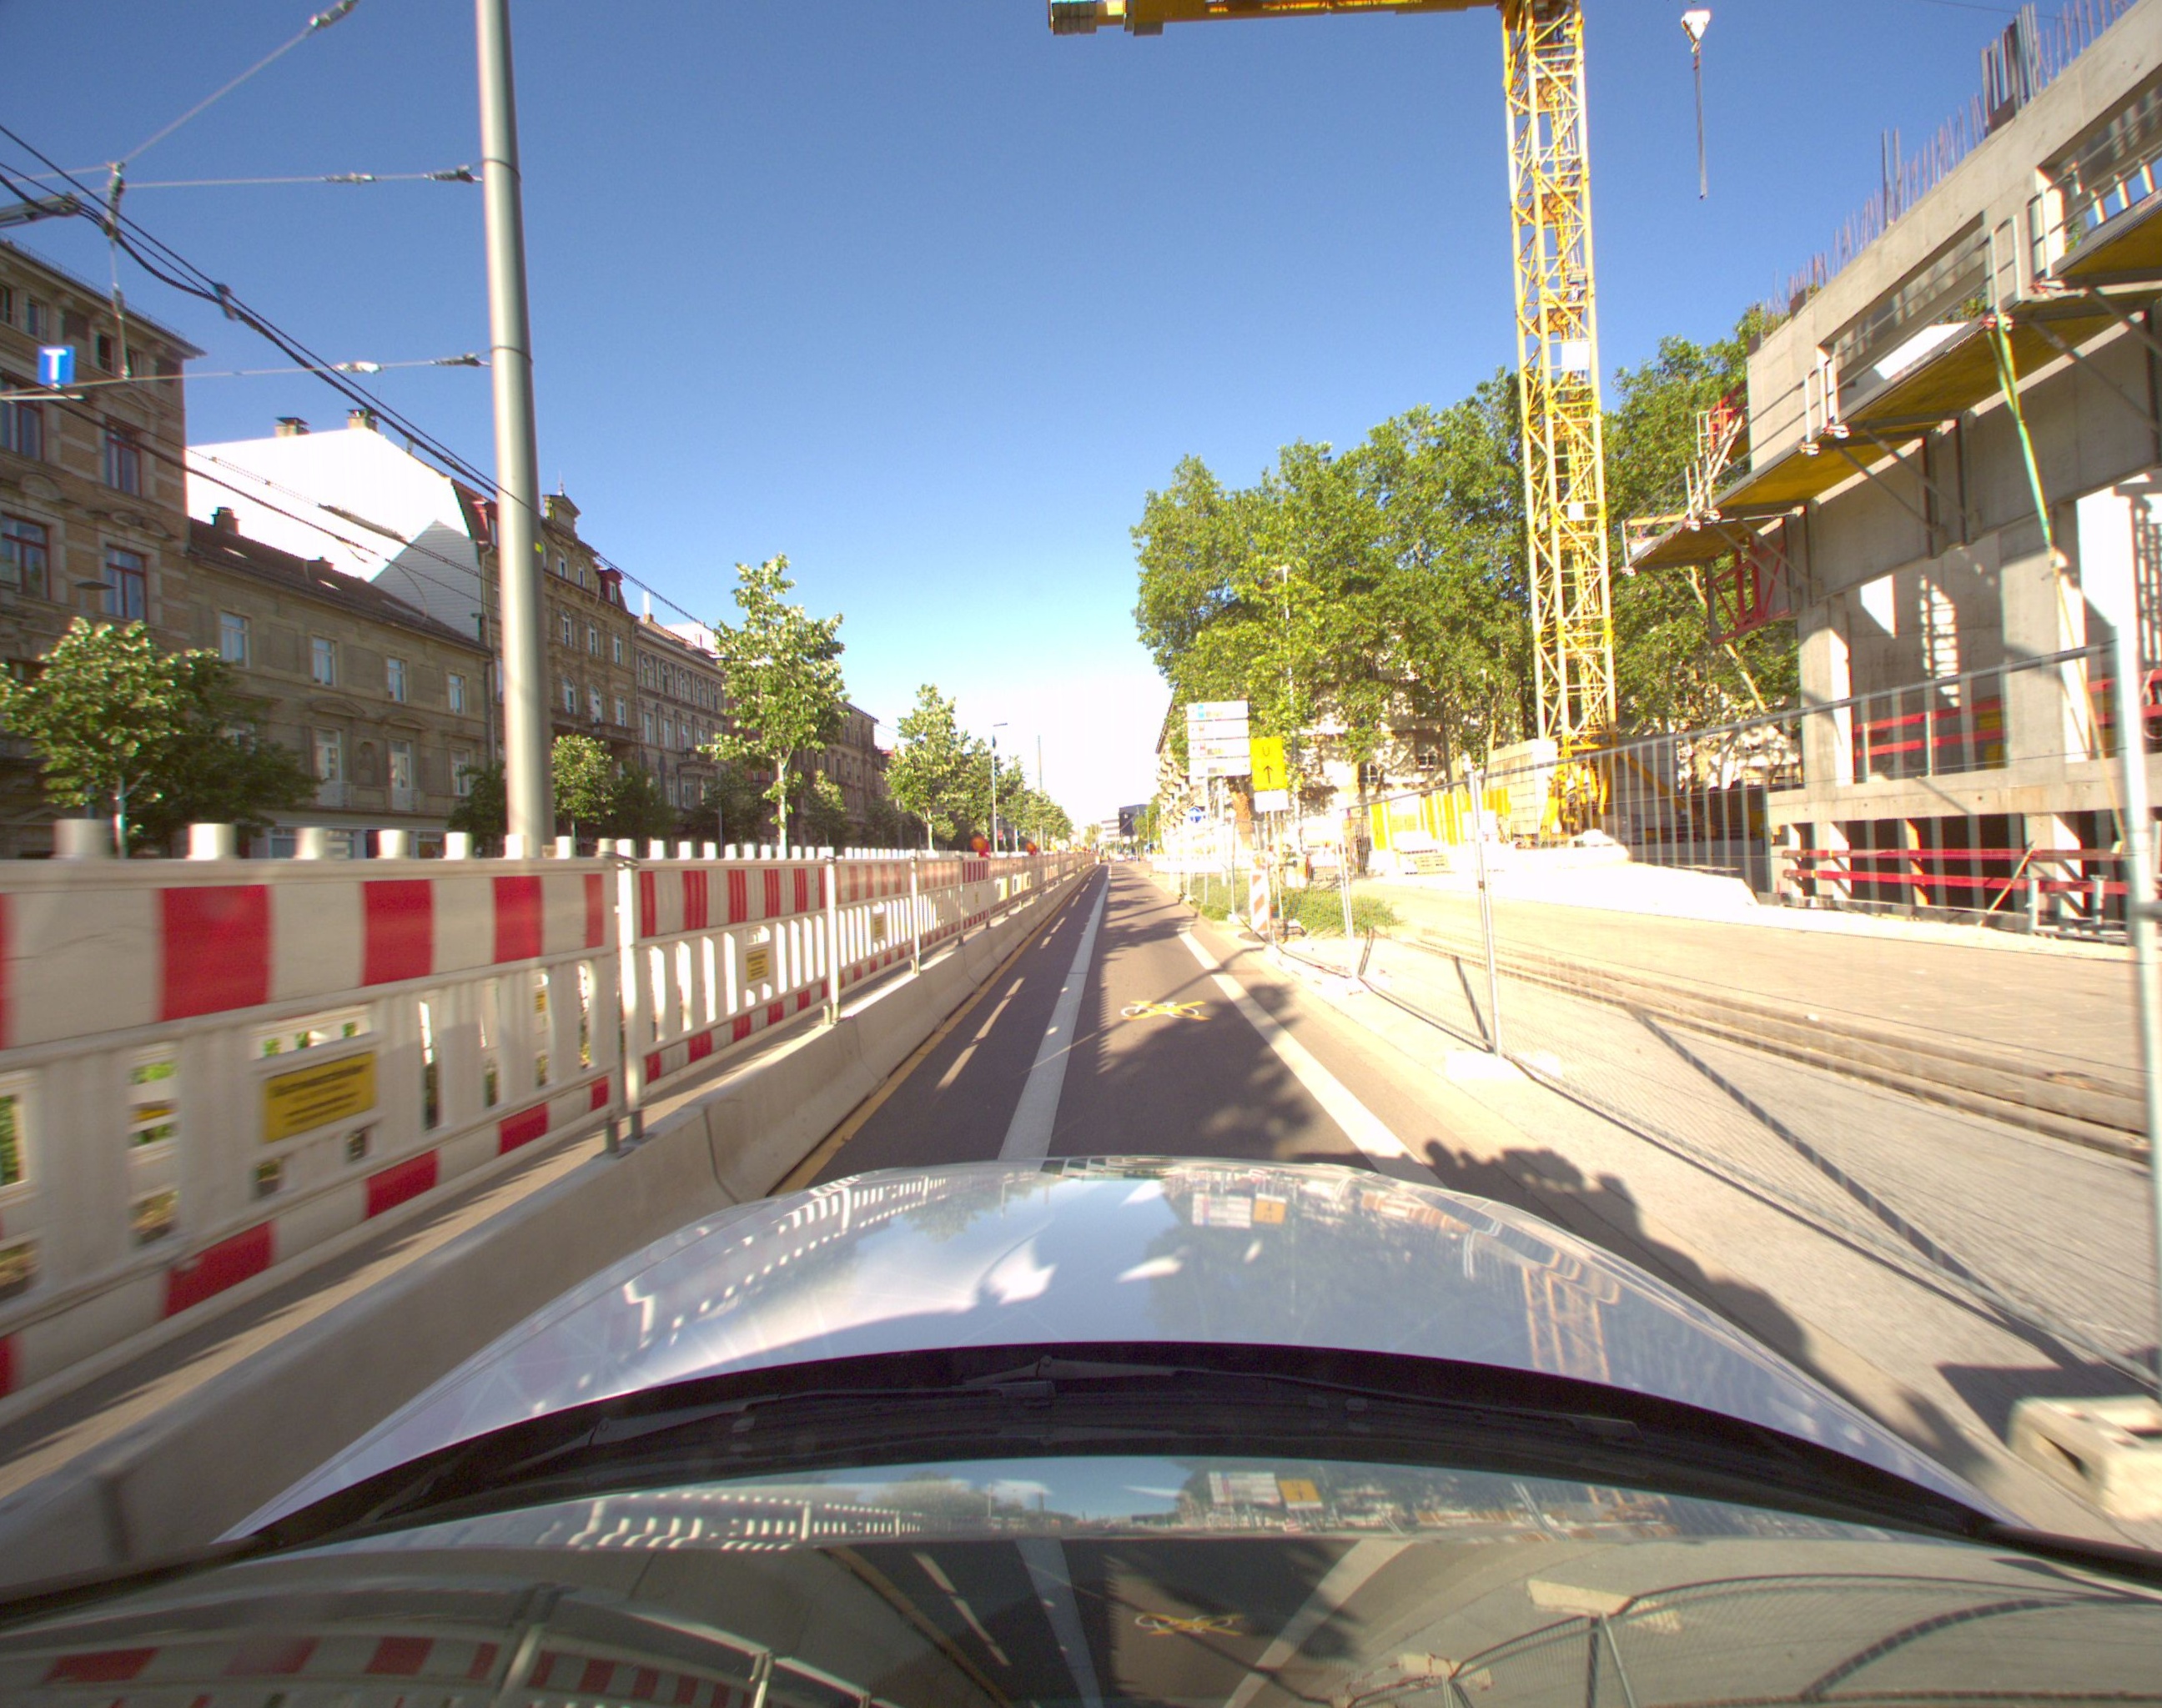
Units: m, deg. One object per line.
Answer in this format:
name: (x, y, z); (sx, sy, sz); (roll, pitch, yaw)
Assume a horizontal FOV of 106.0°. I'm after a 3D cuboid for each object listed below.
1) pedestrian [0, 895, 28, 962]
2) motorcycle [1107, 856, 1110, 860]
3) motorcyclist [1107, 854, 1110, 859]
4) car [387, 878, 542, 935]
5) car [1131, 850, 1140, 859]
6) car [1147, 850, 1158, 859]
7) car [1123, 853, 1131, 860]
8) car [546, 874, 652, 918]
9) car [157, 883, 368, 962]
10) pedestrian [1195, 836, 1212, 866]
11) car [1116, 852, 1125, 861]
pedestrian: (-25.980, 1.797, 19.692); (0.460, 1.585, 0.434); (0, 0, -5)
motorcycle: (7.089, 1.071, 207.457); (0.628, 0.896, 1.622); (-3, 0, 2)
motorcyclist: (7.066, 0.542, 207.530); (0.628, 1.263, 0.606); (-3, 0, 2)
car: (-21.139, 1.739, 28.214); (1.560, 1.562, 4.717); (-3, 0, 2)
car: (12.469, 0.098, 186.565); (1.876, 1.842, 3.670); (-3, 0, 2)
car: (13.897, 0.094, 158.521); (1.875, 1.589, 3.671); (-3, 0, 3)
car: (12.043, 0.671, 212.477); (1.876, 1.842, 3.670); (-3, 0, 2)
car: (-20.579, 1.752, 35.043); (1.560, 1.562, 4.717); (-3, 0, 2)
car: (-21.431, 1.714, 21.558); (1.560, 1.675, 3.811); (-3, 0, 2)
pedestrian: (7.325, -0.192, 48.583); (0.670, 1.746, 0.774); (-3, 0, -15)
car: (8.470, 0.441, 176.201); (1.876, 1.842, 3.670); (-3, 0, 2)
